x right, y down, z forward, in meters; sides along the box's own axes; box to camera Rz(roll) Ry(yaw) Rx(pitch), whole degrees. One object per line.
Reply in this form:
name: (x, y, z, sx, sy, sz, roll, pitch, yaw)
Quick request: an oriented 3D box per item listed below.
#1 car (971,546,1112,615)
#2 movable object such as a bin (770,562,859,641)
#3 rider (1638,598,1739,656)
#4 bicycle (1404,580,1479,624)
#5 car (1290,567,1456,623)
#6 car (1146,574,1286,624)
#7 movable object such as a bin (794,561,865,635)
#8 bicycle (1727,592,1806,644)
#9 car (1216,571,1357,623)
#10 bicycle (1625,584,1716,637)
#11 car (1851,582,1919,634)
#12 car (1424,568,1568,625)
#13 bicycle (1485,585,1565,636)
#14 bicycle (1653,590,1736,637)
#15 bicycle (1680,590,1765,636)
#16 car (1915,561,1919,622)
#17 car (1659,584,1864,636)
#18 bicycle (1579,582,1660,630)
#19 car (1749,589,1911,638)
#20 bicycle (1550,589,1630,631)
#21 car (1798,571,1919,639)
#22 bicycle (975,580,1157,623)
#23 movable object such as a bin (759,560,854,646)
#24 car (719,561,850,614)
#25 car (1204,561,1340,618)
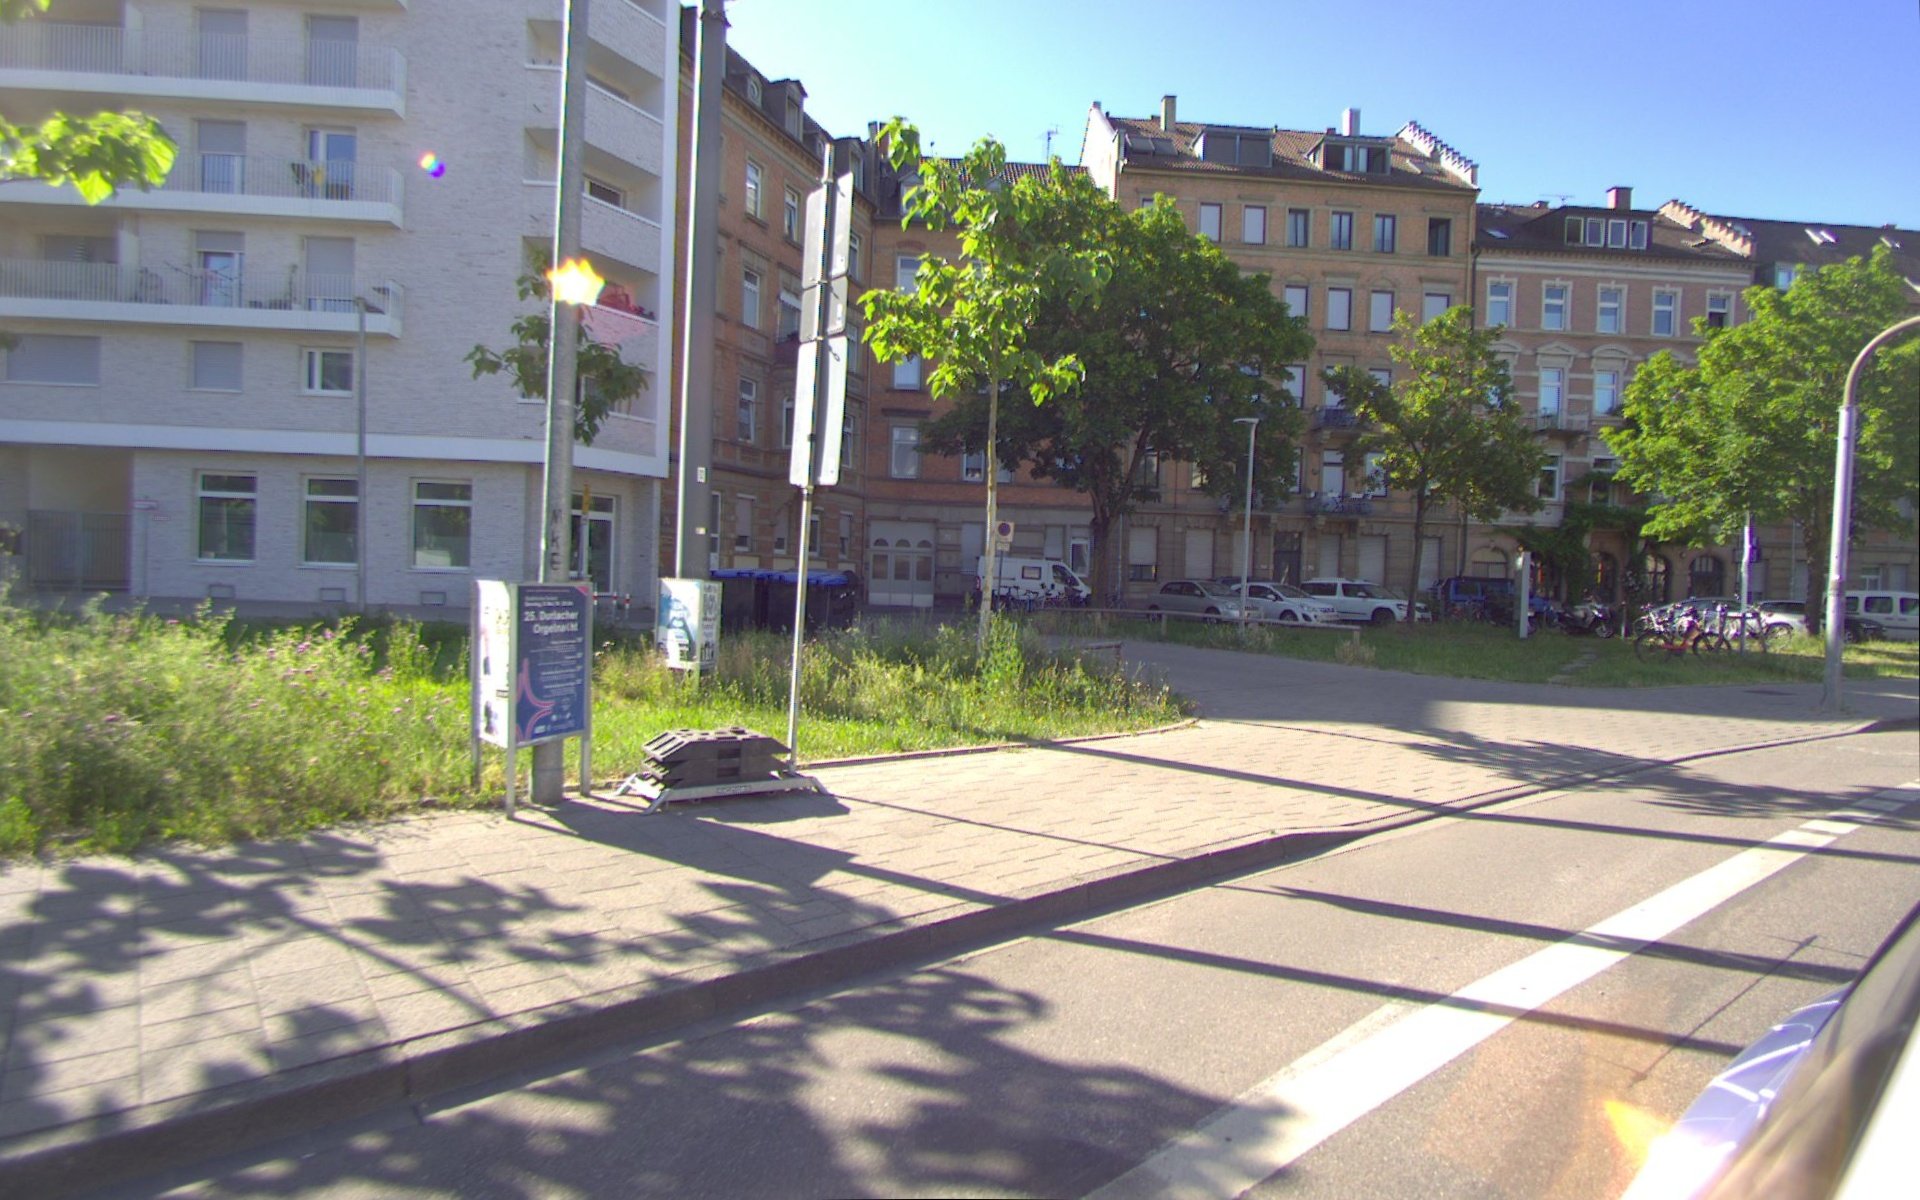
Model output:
car: (3.071, -0.774, 39.158, 5.086, 2.386, 2.359, 2, 3, -3)
movable object such as a bin: (-2.738, 0.013, 19.106, 1.303, 1.416, 1.105, 2, 1, 17)
rider: (15.470, 0.577, 21.533, 1.651, 1.191, 0.501, -1, 0, 14)
bicycle: (15.919, 0.059, 33.486, 0.774, 1.382, 2.095, 1, 1, -44)
car: (12.738, -0.187, 31.488, 1.901, 1.585, 4.472, 1, 1, -34)
car: (7.630, -0.073, 30.557, 1.802, 1.354, 4.063, 1, 1, -29)
movable object such as a bin: (-2.618, -0.056, 20.372, 1.075, 1.416, 1.027, 2, 1, 17)
bicycle: (22.040, 0.465, 27.701, 1.589, 1.306, 0.760, 4, 2, 37)
car: (9.972, -0.113, 31.151, 1.726, 1.459, 3.845, 1, 1, -34)
bicycle: (19.599, 0.269, 27.988, 0.771, 1.382, 2.104, 1, 1, -9)
car: (33.461, 0.335, 33.996, 2.060, 1.667, 4.886, 0, 4, -32)
car: (21.435, -0.159, 40.616, 4.631, 2.001, 2.002, 2, 3, -3)
bicycle: (16.602, 0.298, 29.803, 0.771, 1.416, 2.105, 1, 1, -14)
bicycle: (21.389, 0.371, 29.520, 0.825, 1.206, 1.966, 1, 3, -4)
bicycle: (22.289, 0.357, 29.636, 0.882, 1.195, 1.953, 1, 3, -4)
car: (43.268, -0.237, 42.452, 4.425, 2.616, 2.002, 2, 2, -2)
car: (25.334, 0.277, 32.164, 2.008, 1.397, 4.752, 1, 1, -37)
bicycle: (19.764, 0.151, 30.386, 0.771, 1.382, 2.104, 1, 1, -9)
car: (28.088, 0.400, 32.753, 1.889, 1.397, 3.614, 1, 1, -37)
bicycle: (18.739, 0.282, 30.182, 0.806, 1.173, 2.173, 1, 1, -7)
car: (30.857, 0.163, 33.125, 2.062, 2.037, 4.881, -1, 4, -37)
bicycle: (3.241, 0.026, 31.710, 5.115, 1.141, 2.688, 1, 1, -9)
movable object such as a bin: (-2.691, 0.039, 17.832, 1.286, 1.416, 1.066, 2, 1, 17)
car: (-5.156, -0.380, 30.254, 1.978, 1.454, 4.076, 1, 1, 23)
car: (12.279, -0.449, 40.082, 4.631, 2.001, 2.002, 2, 3, -3)
